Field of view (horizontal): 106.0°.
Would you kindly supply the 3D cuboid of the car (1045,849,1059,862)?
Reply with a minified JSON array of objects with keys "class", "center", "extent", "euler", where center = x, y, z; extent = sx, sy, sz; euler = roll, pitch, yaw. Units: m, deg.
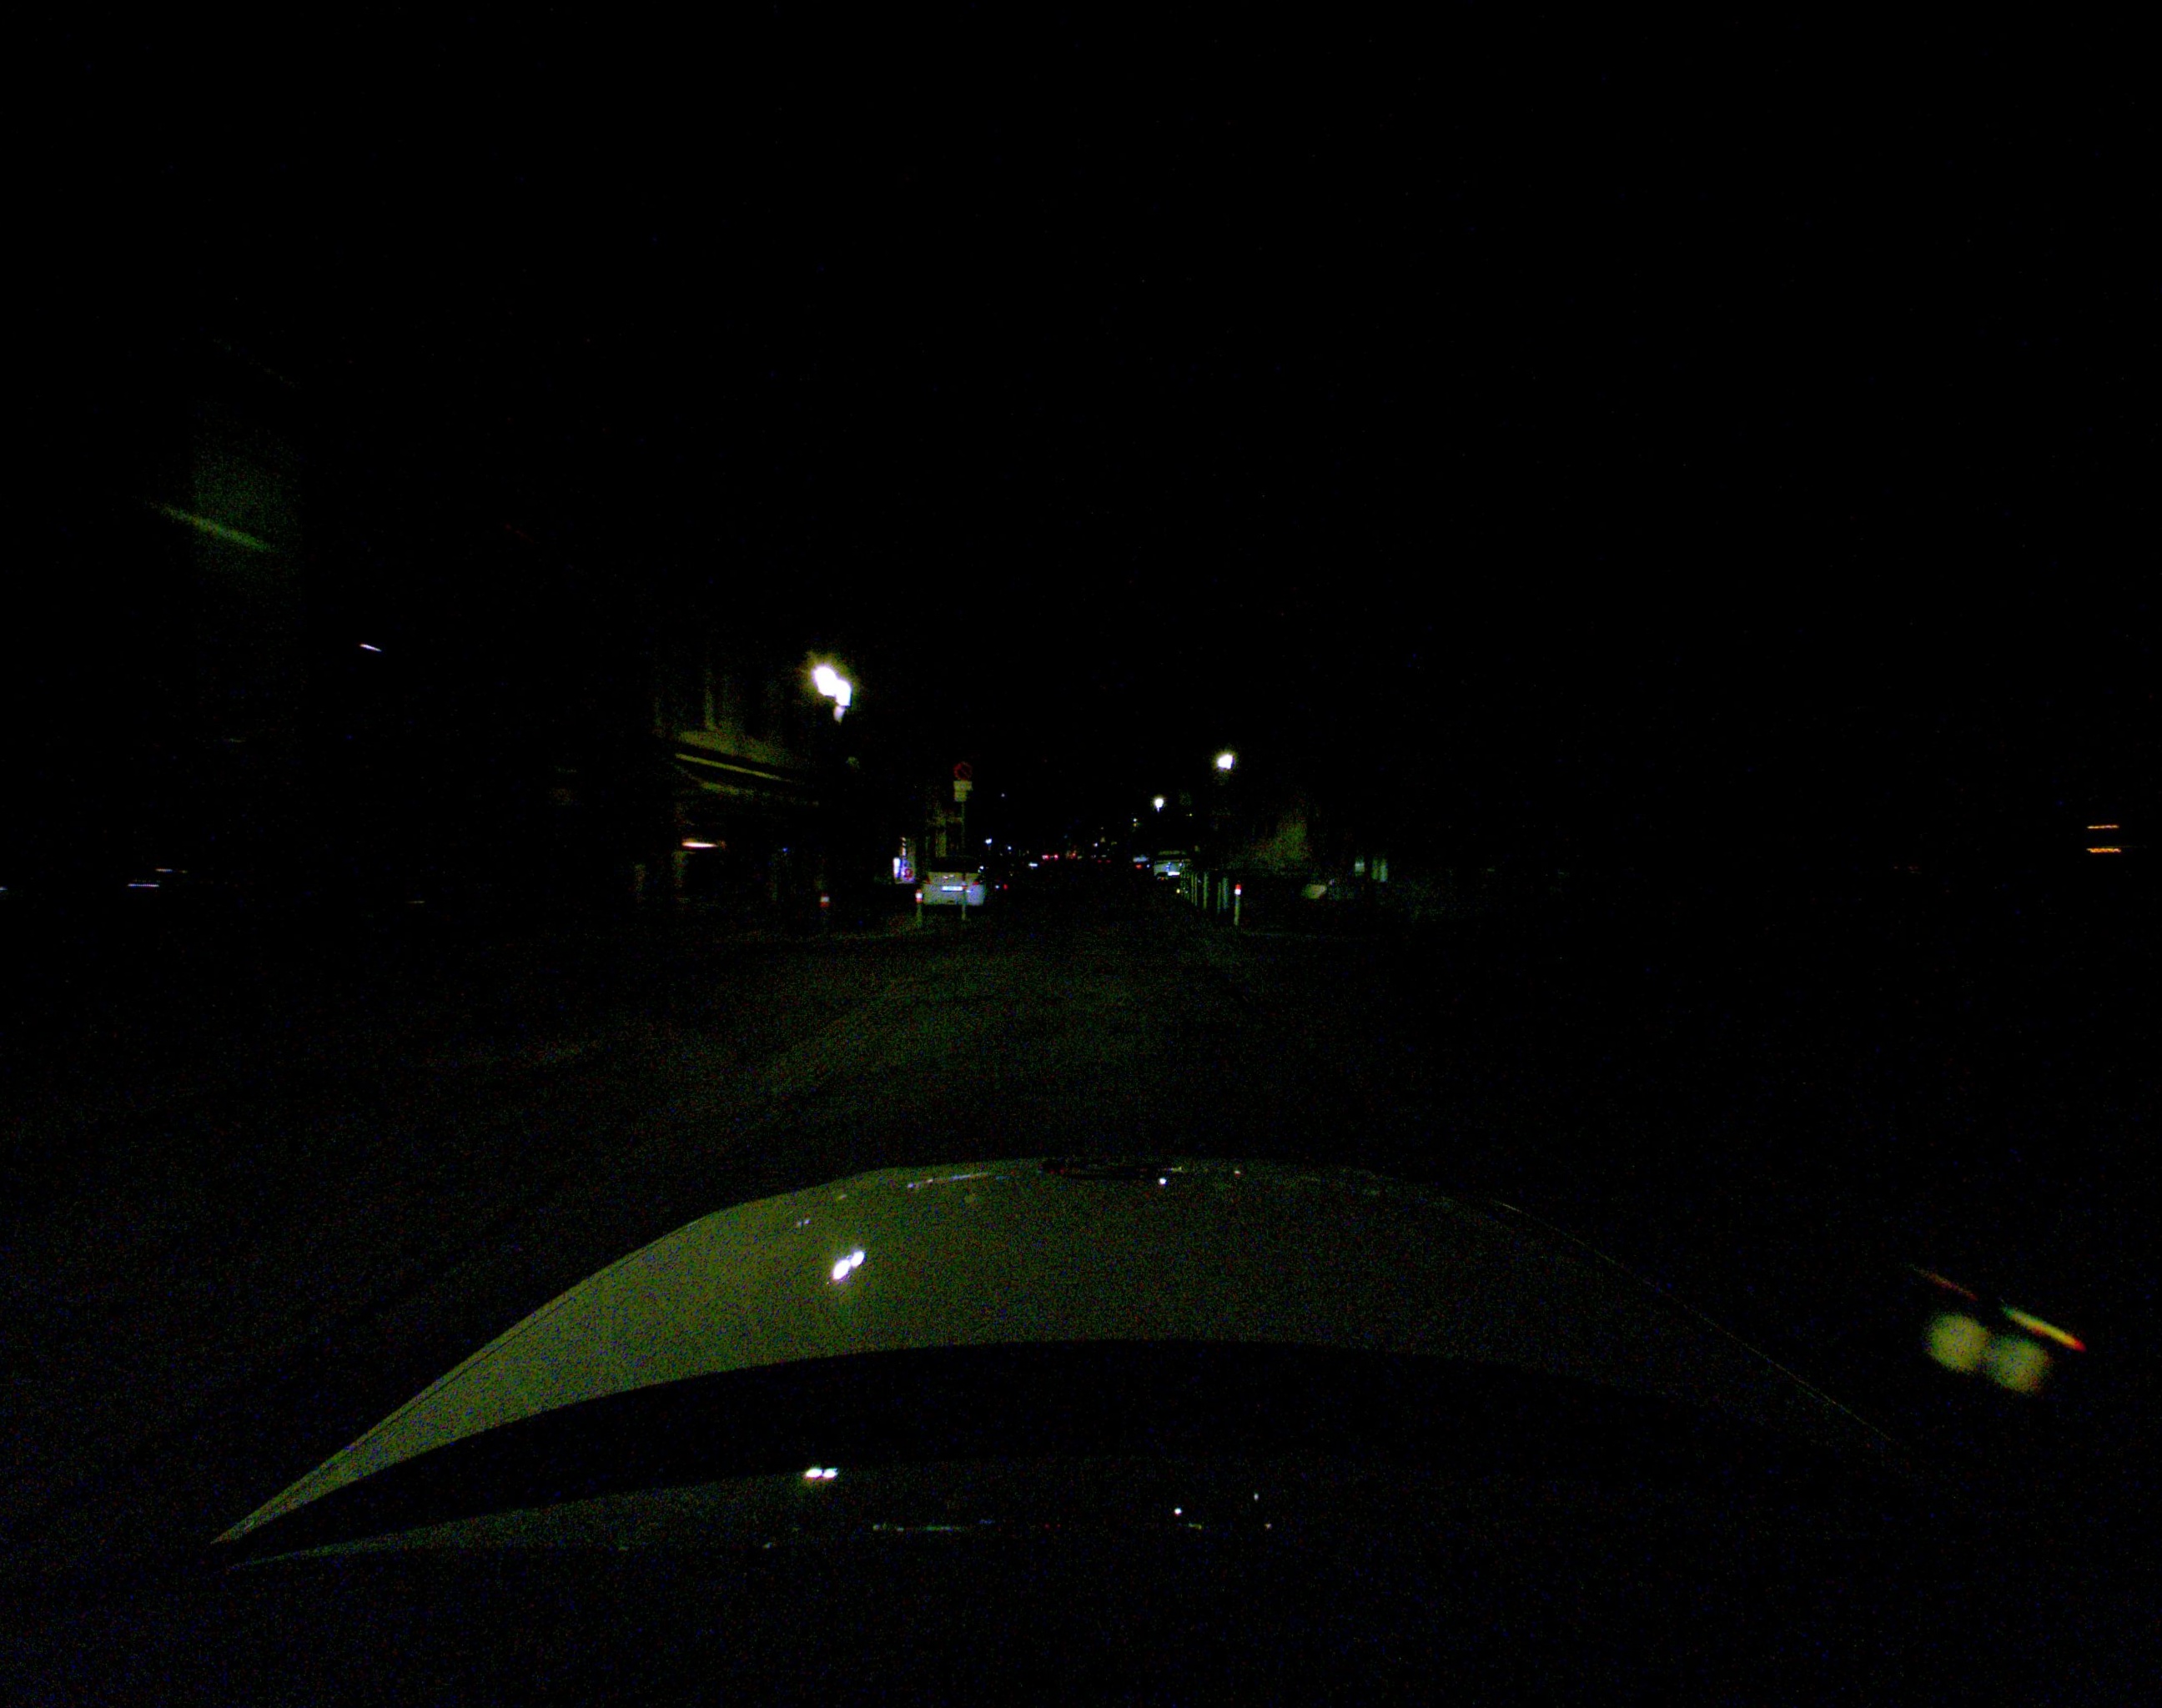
[{"class":"car","center":[-4.352,0.211,120.690],"extent":[1.990,1.823,3.994],"euler":[-1,0,-4]}]

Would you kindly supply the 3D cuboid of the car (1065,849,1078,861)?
[{"class":"car","center":[-1.491,0.197,131.672],"extent":[1.836,1.901,3.839],"euler":[-1,0,-4]}]

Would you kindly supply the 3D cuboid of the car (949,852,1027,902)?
[{"class":"car","center":[-3.060,0.720,27.918],"extent":[2.013,1.488,5.007],"euler":[2,0,0]}]

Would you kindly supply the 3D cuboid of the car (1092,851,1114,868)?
[{"class":"car","center":[2.314,0.574,86.989],"extent":[1.812,1.828,4.339],"euler":[-1,0,-5]}]

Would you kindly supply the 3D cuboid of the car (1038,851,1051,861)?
[{"class":"car","center":[-5.995,0.345,134.503],"extent":[1.990,1.702,3.994],"euler":[-1,0,-4]}]

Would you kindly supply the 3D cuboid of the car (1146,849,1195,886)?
[{"class":"car","center":[3.910,0.563,36.012],"extent":[1.783,1.491,4.060],"euler":[-2,0,2]}]

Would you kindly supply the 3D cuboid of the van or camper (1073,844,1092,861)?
[{"class":"van or camper","center":[0.185,-0.226,113.041],"extent":[2.106,2.317,4.253],"euler":[-2,0,-6]}]

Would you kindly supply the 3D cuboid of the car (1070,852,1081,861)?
[{"class":"car","center":[-0.865,0.382,125.888],"extent":[1.528,1.418,3.839],"euler":[-1,0,-4]}]

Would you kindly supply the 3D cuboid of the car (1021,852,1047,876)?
[{"class":"car","center":[-3.236,0.674,55.900],"extent":[1.671,1.543,4.223],"euler":[0,0,-5]}]

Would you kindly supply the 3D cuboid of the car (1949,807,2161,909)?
[{"class":"car","center":[17.461,0.041,13.753],"extent":[3.839,1.588,1.662],"euler":[-1,0,0]}]

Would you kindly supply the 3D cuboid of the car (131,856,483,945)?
[{"class":"car","center":[-12.621,0.743,13.500],"extent":[3.975,1.376,1.808],"euler":[0,-2,-1]}]

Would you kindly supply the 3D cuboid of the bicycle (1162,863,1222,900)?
[{"class":"bicycle","center":[3.332,0.821,24.459],"extent":[1.750,1.062,0.346],"euler":[-1,0,-2]}]

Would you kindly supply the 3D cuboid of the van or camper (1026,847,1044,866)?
[{"class":"van or camper","center":[-5.280,0.281,93.638],"extent":[1.864,2.011,4.253],"euler":[1,0,-6]}]

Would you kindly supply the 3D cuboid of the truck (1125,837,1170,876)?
[{"class":"truck","center":[4.099,0.150,51.358],"extent":[2.328,2.312,5.780],"euler":[-1,0,0]}]

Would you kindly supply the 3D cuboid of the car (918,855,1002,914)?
[{"class":"car","center":[-3.200,0.764,22.250],"extent":[1.723,1.477,3.846],"euler":[0,0,0]}]

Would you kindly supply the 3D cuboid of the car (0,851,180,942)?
[{"class":"car","center":[-17.825,0.665,13.337],"extent":[3.975,1.391,1.808],"euler":[0,-2,-1]}]

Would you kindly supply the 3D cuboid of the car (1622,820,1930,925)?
[{"class":"car","center":[11.392,0.294,13.545],"extent":[3.601,1.442,1.725],"euler":[-3,-1,0]}]
